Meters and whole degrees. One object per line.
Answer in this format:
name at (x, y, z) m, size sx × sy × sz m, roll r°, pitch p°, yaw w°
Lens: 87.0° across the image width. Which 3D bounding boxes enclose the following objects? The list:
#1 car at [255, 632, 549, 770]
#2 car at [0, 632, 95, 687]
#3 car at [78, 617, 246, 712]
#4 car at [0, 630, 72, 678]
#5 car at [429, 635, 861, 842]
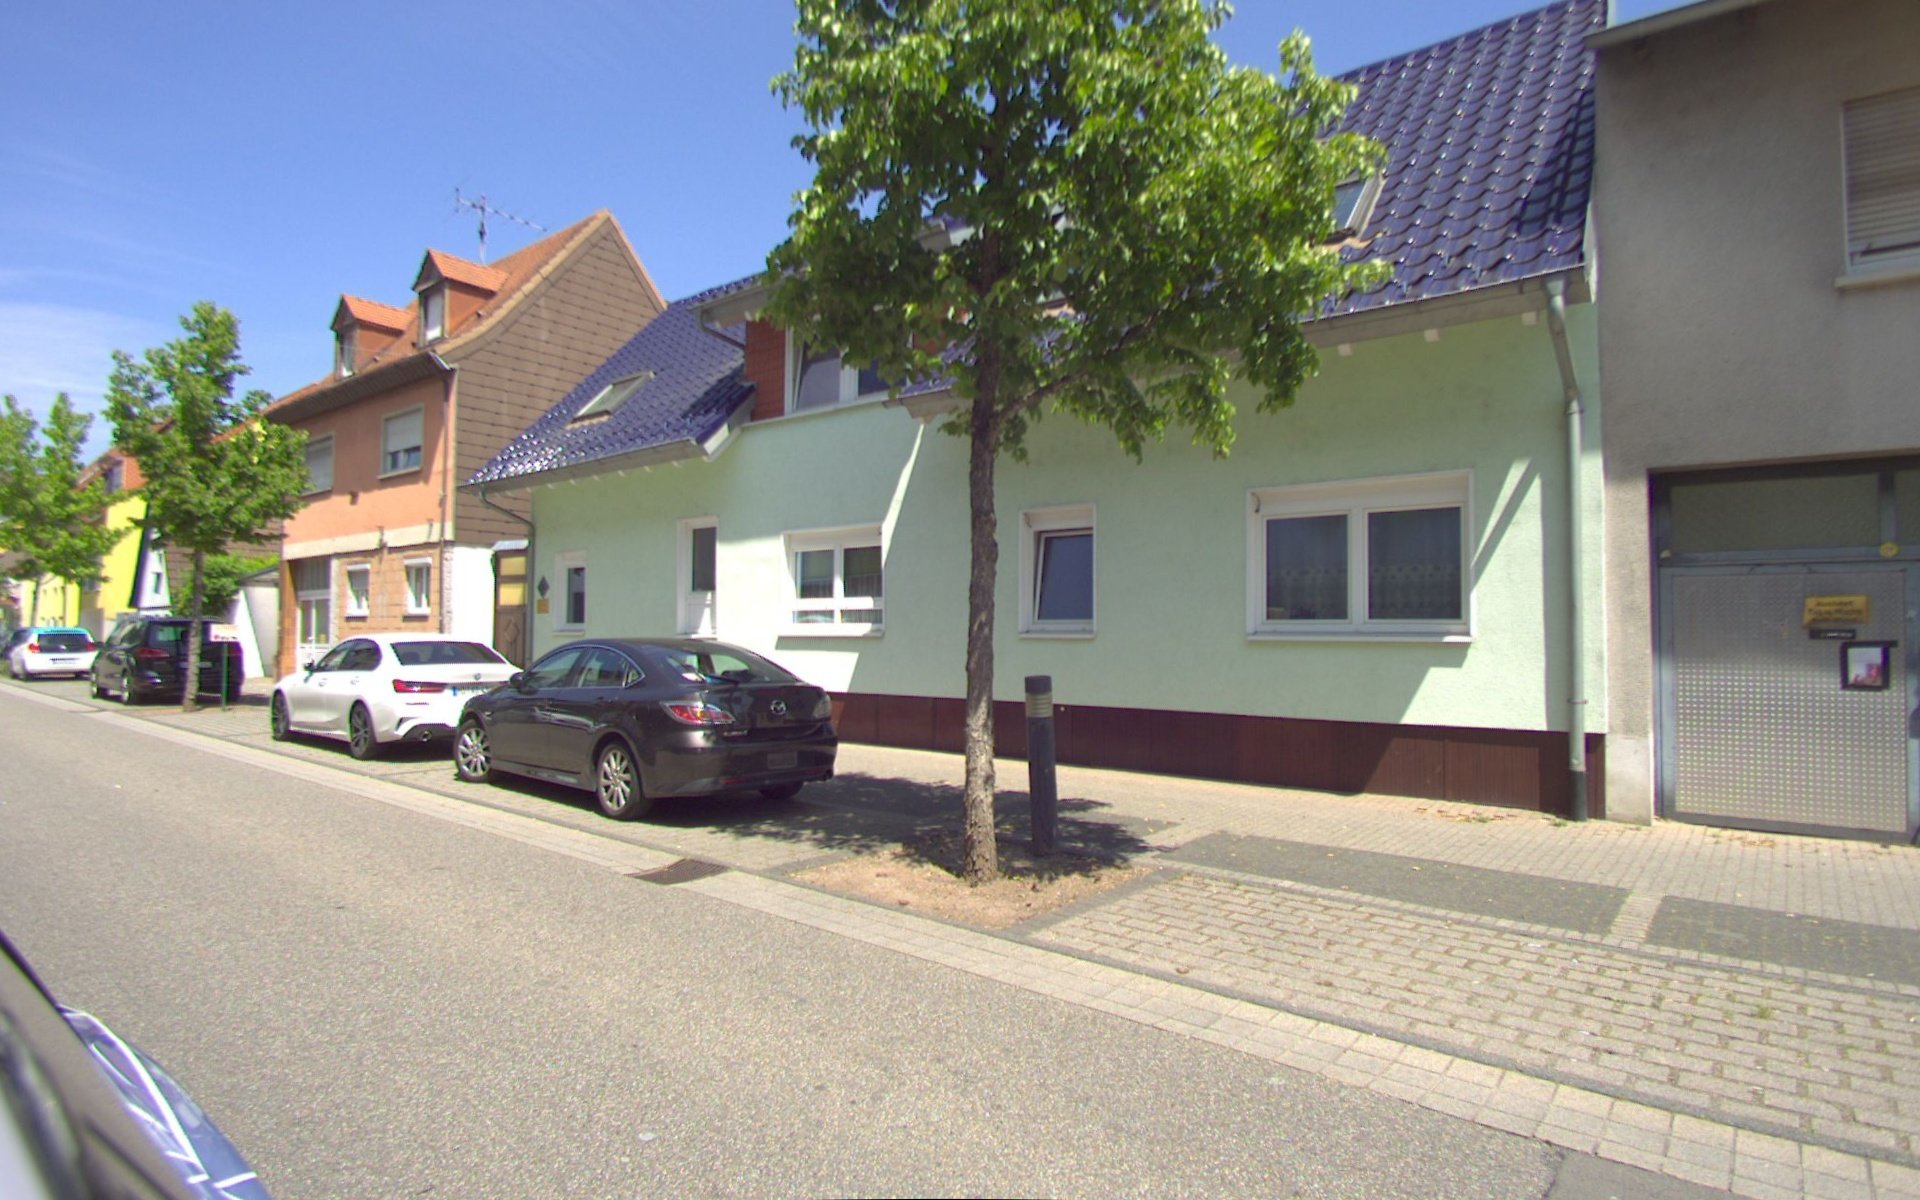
car at (-7.199, 1.175, 12.864) m, size 4.455 × 1.448 × 1.703 m, roll -1°, pitch -5°, yaw 40°
car at (-25.482, 1.623, 28.189) m, size 3.407 × 1.441 × 1.538 m, roll -1°, pitch -4°, yaw 40°
car at (-16.415, 1.267, 20.735) m, size 4.515 × 1.739 × 1.757 m, roll -2°, pitch -3°, yaw 40°
car at (-29.978, 1.715, 32.431) m, size 4.095 × 1.441 × 1.628 m, roll -1°, pitch -4°, yaw 40°
car at (-3.077, 1.060, 9.318) m, size 4.535 × 1.448 × 1.643 m, roll -2°, pitch -3°, yaw 41°
